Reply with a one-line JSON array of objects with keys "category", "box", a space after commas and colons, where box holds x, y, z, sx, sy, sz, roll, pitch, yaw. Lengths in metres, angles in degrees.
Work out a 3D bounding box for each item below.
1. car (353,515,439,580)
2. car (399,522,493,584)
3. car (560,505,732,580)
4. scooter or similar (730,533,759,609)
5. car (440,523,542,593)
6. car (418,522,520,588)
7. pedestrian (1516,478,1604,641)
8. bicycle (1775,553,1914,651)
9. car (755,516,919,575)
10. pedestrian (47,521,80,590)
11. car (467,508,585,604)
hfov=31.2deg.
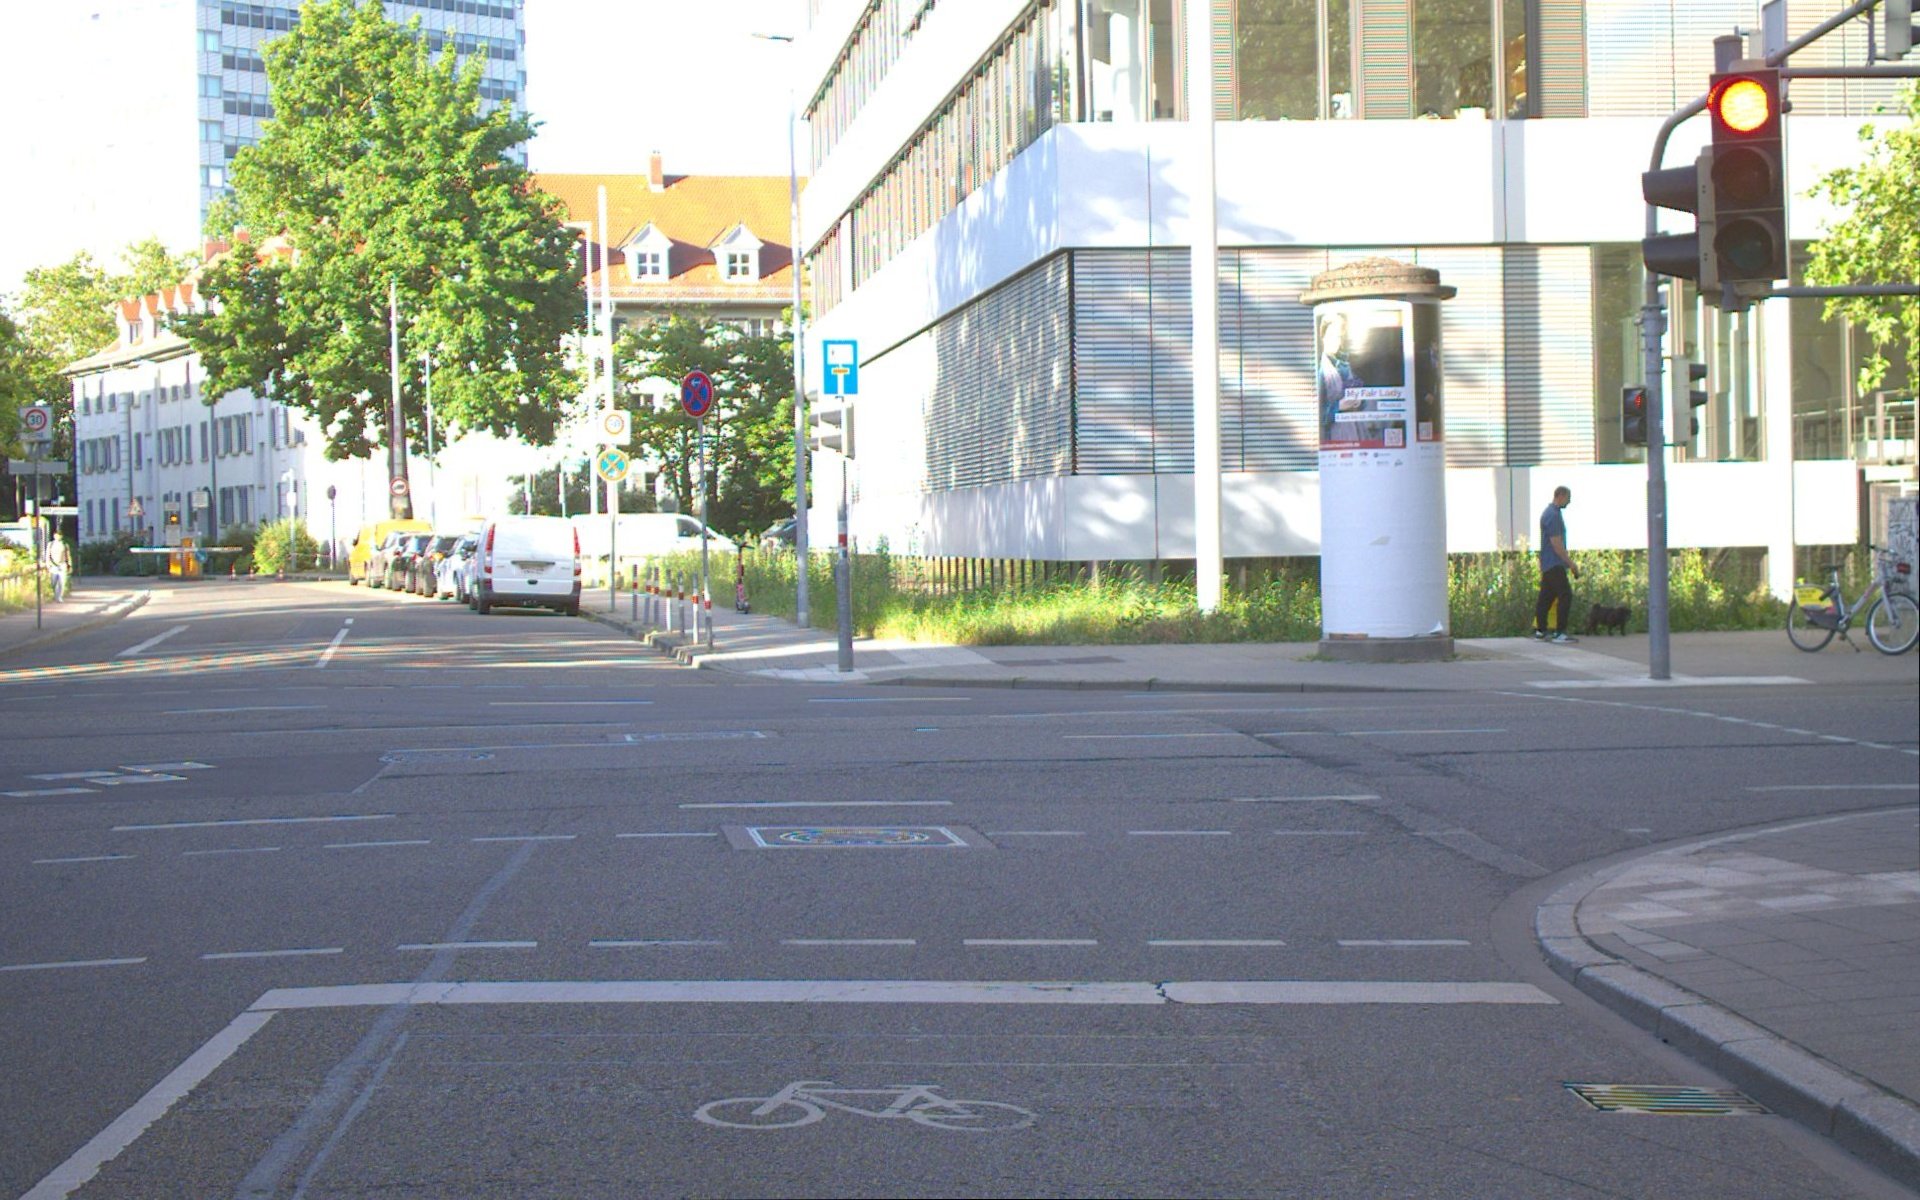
[{"category": "car", "box": [-15.737, -1.460, 95.819, 1.993, 1.719, 4.653, 1, 1, -14]}, {"category": "car", "box": [-12.878, -1.172, 85.963, 1.993, 1.493, 4.653, 1, 1, -13]}, {"category": "car", "box": [-9.401, -1.716, 102.915, 4.791, 2.151, 2.001, 1, 0, -17]}, {"category": "scooter or similar", "box": [-3.658, -0.496, 58.275, 0.437, 1.252, 1.420, -1, 1, -4]}, {"category": "car", "box": [-10.503, -0.942, 76.792, 1.993, 1.493, 4.653, 1, 1, -11]}, {"category": "car", "box": [-11.625, -1.067, 81.239, 1.993, 1.493, 4.288, 1, 1, -13]}, {"category": "pedestrian", "box": [6.771, -0.462, 38.820, 0.914, 1.809, 0.762, 1, 0, 7]}, {"category": "bicycle", "box": [9.285, 0.014, 36.132, 0.378, 1.005, 1.432, -2, 2, -42]}, {"category": "car", "box": [-3.753, -1.646, 104.758, 4.635, 1.719, 2.001, 1, 1, -16]}, {"category": "pedestrian", "box": [-20.680, -1.028, 79.279, 0.699, 1.581, 0.637, 1, 0, -16]}, {"category": "car", "box": [-8.219, -0.821, 64.807, 1.993, 1.719, 4.653, 1, 1, -10]}]
